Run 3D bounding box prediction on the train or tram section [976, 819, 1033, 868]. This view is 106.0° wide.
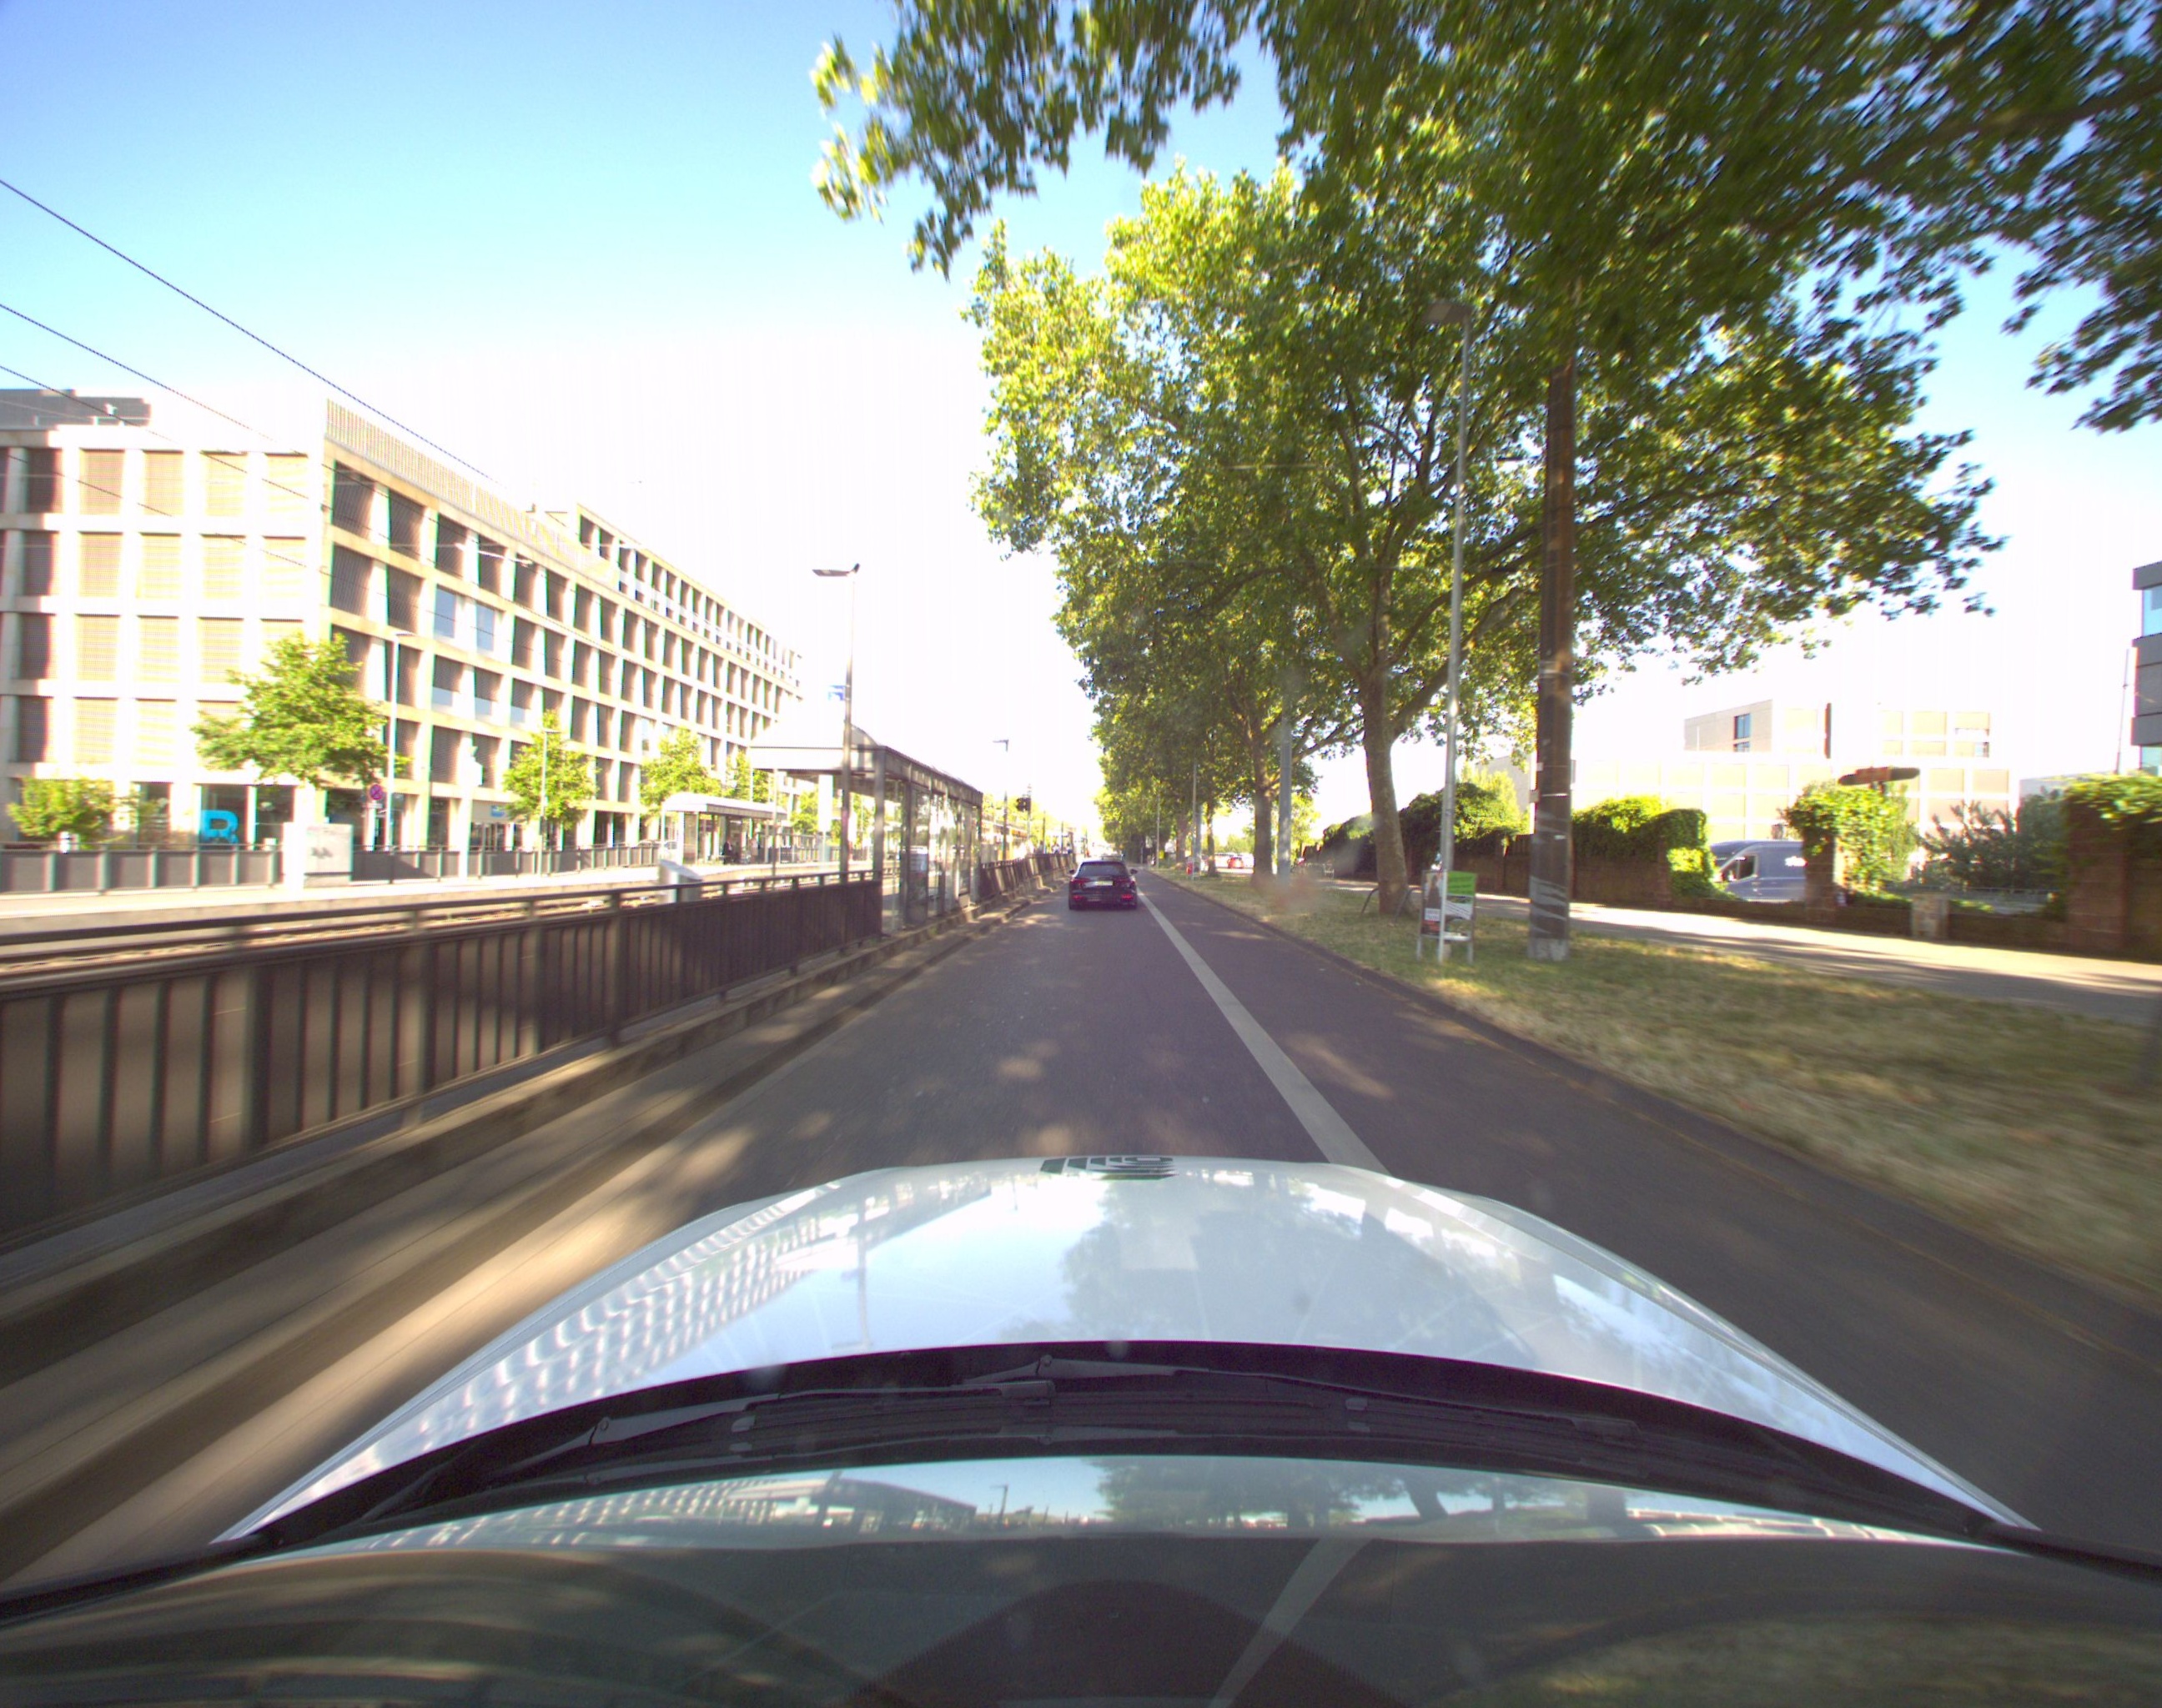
[{"bbox_3d":[-6.489,-0.864,71.202,3.296,3.829,11.848,2,0,2],"label":"train or tram section"}]

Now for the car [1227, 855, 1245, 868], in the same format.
[{"bbox_3d":[19.021,0.959,99.844,1.608,1.515,3.805,1,0,2],"label":"car"}]

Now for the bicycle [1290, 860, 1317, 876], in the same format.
[{"bbox_3d":[15.551,0.950,56.899,1.767,1.120,0.439,0,0,1],"label":"bicycle"}]

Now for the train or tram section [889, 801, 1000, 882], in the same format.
[{"bbox_3d":[-7.285,-0.607,46.336,3.296,3.829,14.225,2,0,2],"label":"train or tram section"}]

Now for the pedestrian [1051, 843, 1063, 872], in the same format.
[{"bbox_3d":[-1.414,0.212,48.319,0.609,1.668,0.614,1,0,4],"label":"pedestrian"}]

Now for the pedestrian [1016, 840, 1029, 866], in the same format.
[{"bbox_3d":[-4.137,-0.062,57.825,0.790,1.784,0.626,1,0,2],"label":"pedestrian"}]

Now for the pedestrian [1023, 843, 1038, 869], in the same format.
[{"bbox_3d":[-3.534,0.120,57.209,0.799,1.784,0.642,2,0,-38],"label":"pedestrian"}]

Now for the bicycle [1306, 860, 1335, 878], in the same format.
[{"bbox_3d":[15.197,0.928,51.689,1.767,1.120,0.439,0,0,1],"label":"bicycle"}]

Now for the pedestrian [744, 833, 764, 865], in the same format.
[{"bbox_3d":[-15.981,-0.258,39.809,0.610,1.527,0.726,1,0,10],"label":"pedestrian"}]

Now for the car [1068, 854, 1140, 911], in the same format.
[{"bbox_3d":[0.595,0.748,23.035,1.872,1.457,3.356,0,0,0],"label":"car"}]

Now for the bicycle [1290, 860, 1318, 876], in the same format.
[{"bbox_3d":[15.286,0.954,55.859,1.767,1.120,0.439,0,0,1],"label":"bicycle"}]

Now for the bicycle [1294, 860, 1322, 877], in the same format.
[{"bbox_3d":[15.236,0.960,54.773,1.767,1.120,0.439,0,0,1],"label":"bicycle"}]

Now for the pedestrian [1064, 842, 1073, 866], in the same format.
[{"bbox_3d":[-0.916,0.000,60.657,0.609,1.784,0.614,1,0,2],"label":"pedestrian"}]

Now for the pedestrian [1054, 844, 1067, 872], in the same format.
[{"bbox_3d":[-1.233,0.224,49.240,0.613,1.642,0.610,2,0,-18],"label":"pedestrian"}]

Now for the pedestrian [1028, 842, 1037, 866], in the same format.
[{"bbox_3d":[-3.572,-0.014,59.994,0.609,1.784,0.775,1,0,2],"label":"pedestrian"}]

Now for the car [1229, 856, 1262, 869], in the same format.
[{"bbox_3d":[23.569,1.190,117.024,4.436,1.658,1.921,2,0,6],"label":"car"}]

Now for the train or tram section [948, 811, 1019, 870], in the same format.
[{"bbox_3d":[-6.845,-0.878,59.401,3.296,3.829,11.848,2,0,2],"label":"train or tram section"}]

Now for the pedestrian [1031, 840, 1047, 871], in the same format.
[{"bbox_3d":[-2.163,0.079,42.368,0.610,1.549,0.727,1,0,12],"label":"pedestrian"}]

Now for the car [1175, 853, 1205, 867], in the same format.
[{"bbox_3d":[14.867,0.836,111.081,3.971,1.764,1.834,1,0,2],"label":"car"}]

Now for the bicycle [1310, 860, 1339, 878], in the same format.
[{"bbox_3d":[15.155,0.914,50.622,1.681,1.120,0.439,0,0,1],"label":"bicycle"}]

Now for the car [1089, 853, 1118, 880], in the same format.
[{"bbox_3d":[1.466,0.796,53.816,1.757,1.619,3.999,1,0,0],"label":"car"}]

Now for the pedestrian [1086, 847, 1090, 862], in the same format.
[{"bbox_3d":[0.841,0.076,97.577,0.410,1.717,0.666,2,0,2],"label":"pedestrian"}]

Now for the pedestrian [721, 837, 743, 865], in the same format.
[{"bbox_3d":[-15.981,-0.116,37.337,0.611,1.260,0.725,1,0,6],"label":"pedestrian"}]
